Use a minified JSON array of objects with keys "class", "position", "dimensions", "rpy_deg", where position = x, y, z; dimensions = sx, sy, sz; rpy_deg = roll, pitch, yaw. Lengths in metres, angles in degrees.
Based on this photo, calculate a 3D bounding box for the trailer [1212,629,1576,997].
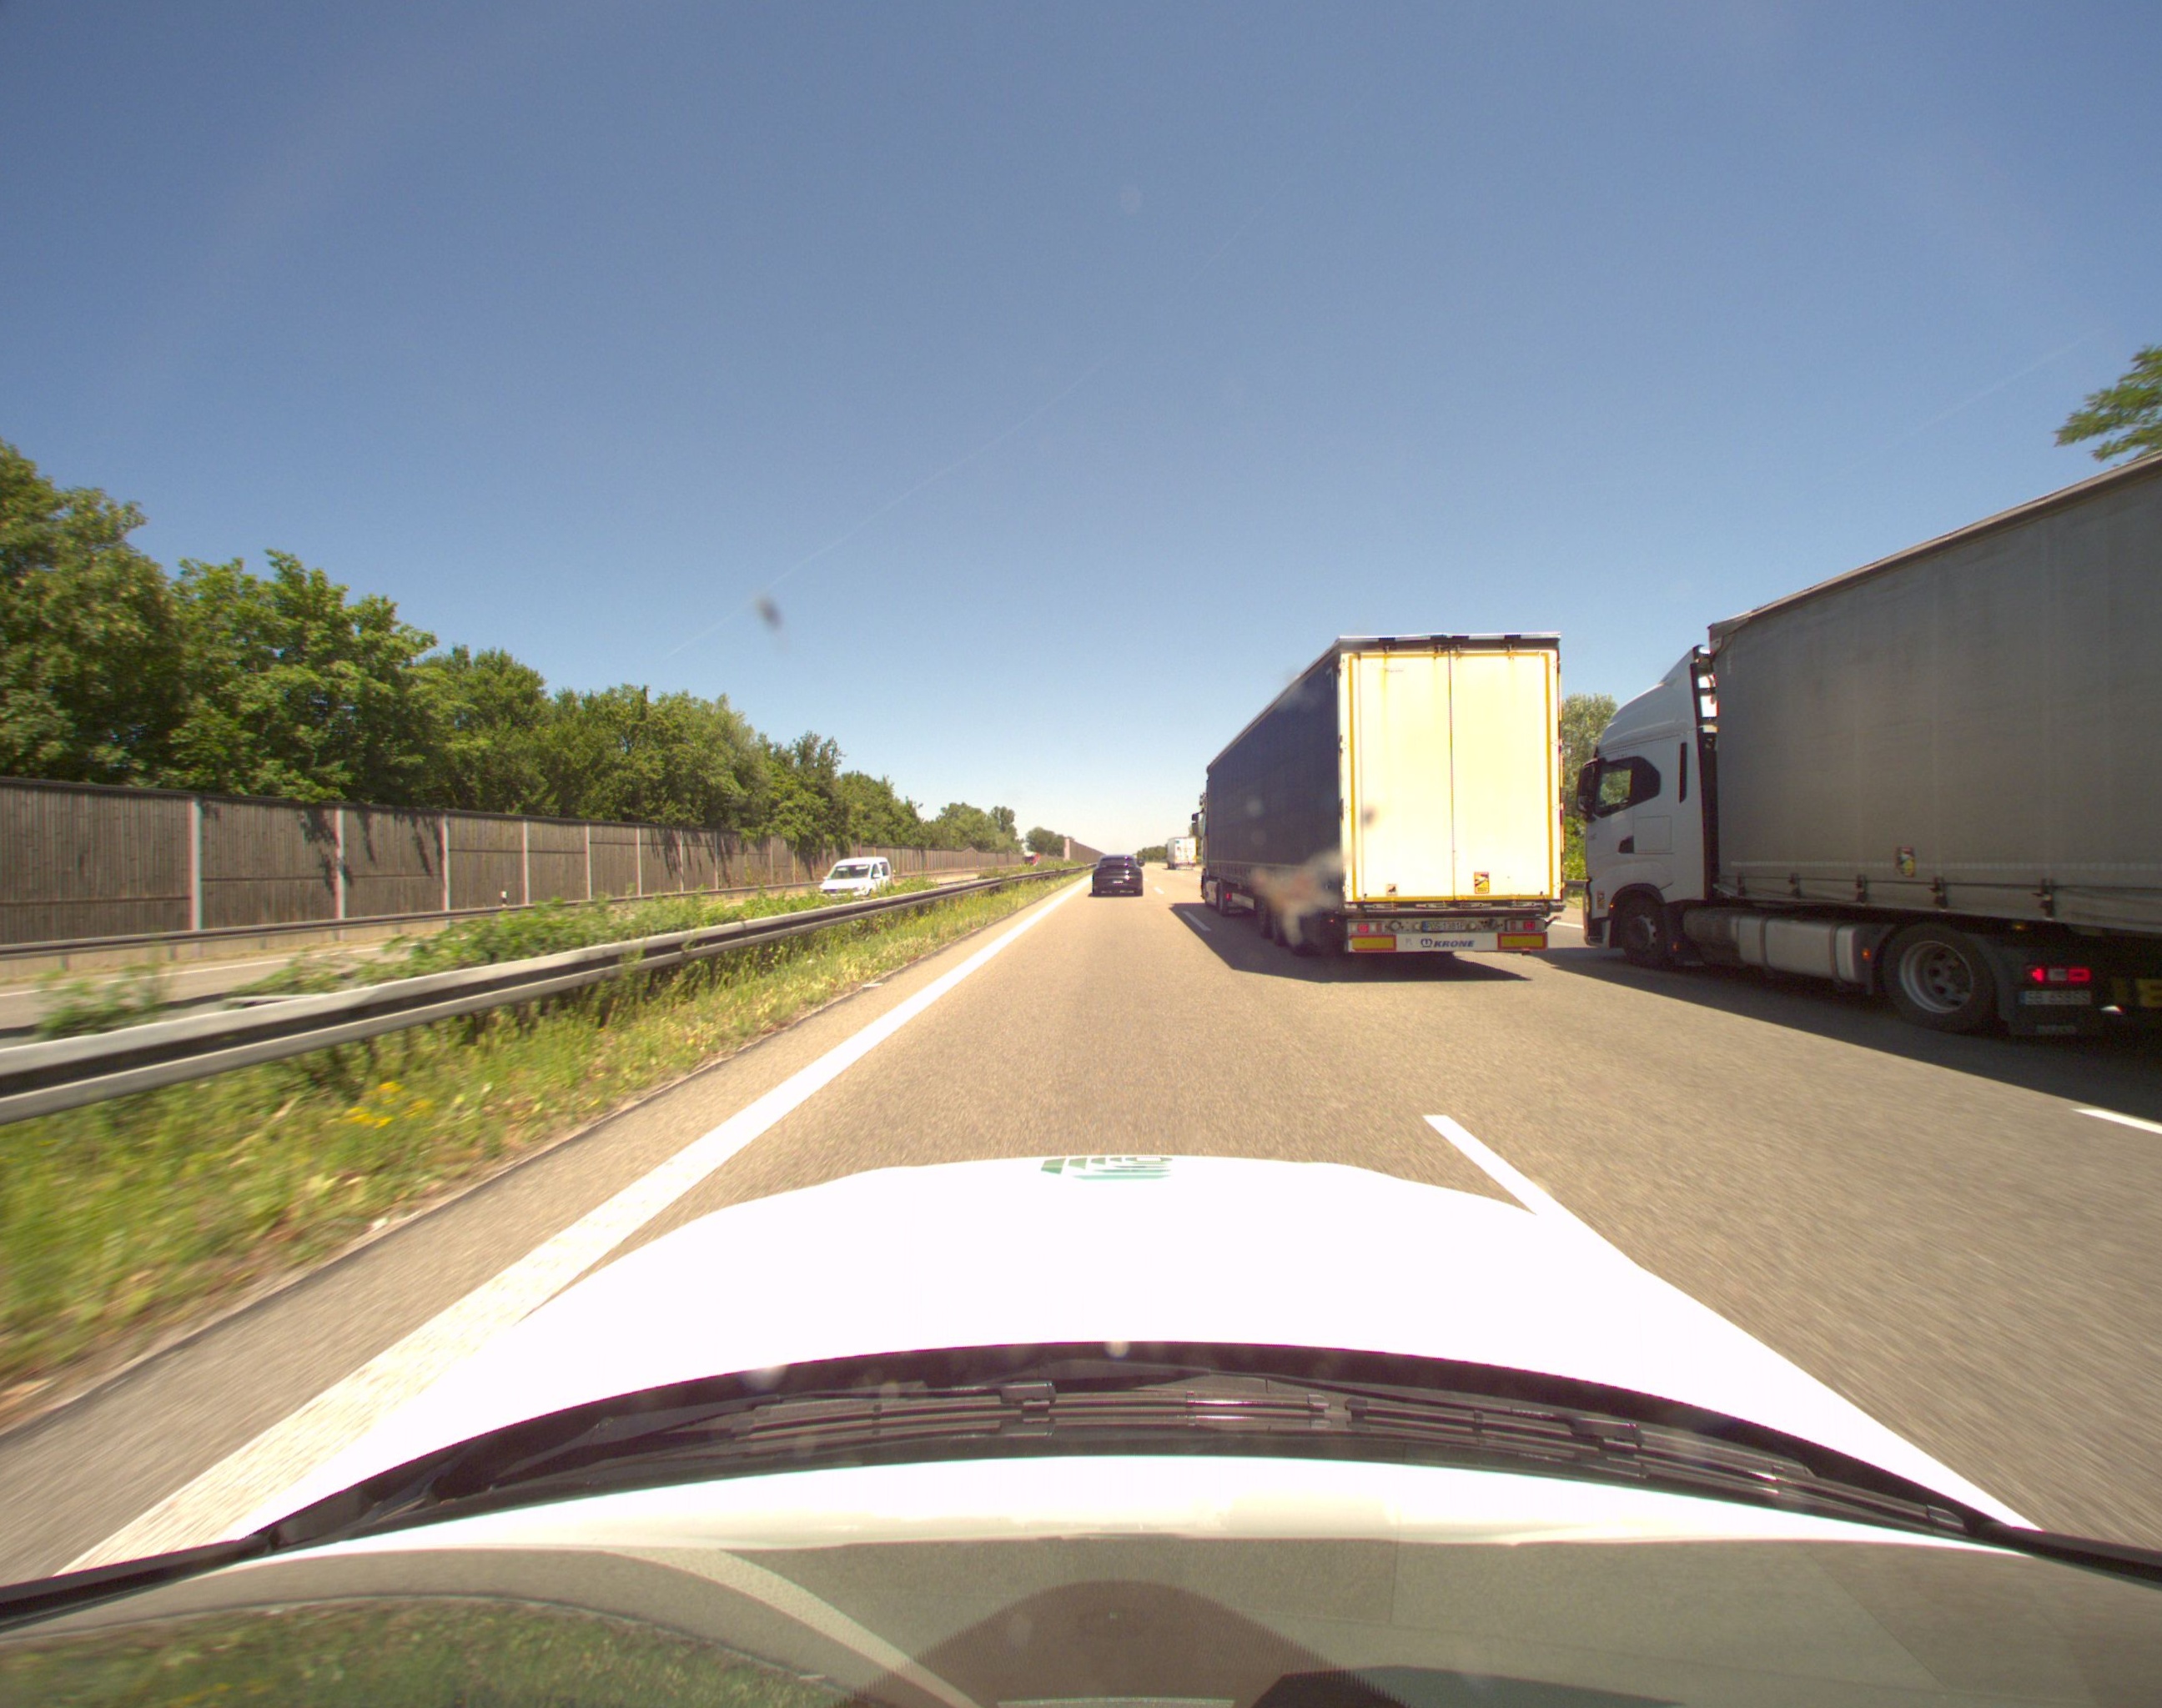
[{"class":"trailer","position":[4.472,-0.406,15.198],"dimensions":[2.689,4.118,12.140],"rpy_deg":[0,-1,3]}]

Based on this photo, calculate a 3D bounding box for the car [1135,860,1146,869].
[{"class":"car","position":[10.972,1.874,150.287],"dimensions":[1.895,1.584,4.307],"rpy_deg":[-2,-2,3]}]

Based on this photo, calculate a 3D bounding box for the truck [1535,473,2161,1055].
[{"class":"truck","position":[8.369,-0.623,9.244],"dimensions":[2.690,4.118,6.993],"rpy_deg":[0,-1,2]}]

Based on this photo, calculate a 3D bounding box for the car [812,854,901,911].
[{"class":"car","position":[-8.007,0.953,29.491],"dimensions":[1.776,1.840,4.561],"rpy_deg":[-2,0,2]}]

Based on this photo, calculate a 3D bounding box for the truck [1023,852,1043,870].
[{"class":"truck","position":[-9.597,1.326,163.322],"dimensions":[2.688,3.492,10.862],"rpy_deg":[0,-1,3]}]

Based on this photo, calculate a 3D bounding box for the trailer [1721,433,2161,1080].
[{"class":"trailer","position":[8.118,-0.649,2.251],"dimensions":[2.690,4.118,13.246],"rpy_deg":[0,-1,2]}]

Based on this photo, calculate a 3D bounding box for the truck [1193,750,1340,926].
[{"class":"truck","position":[4.827,-0.345,22.623],"dimensions":[2.690,4.118,6.993],"rpy_deg":[0,-1,2]}]

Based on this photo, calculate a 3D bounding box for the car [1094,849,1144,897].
[{"class":"car","position":[1.470,0.719,32.790],"dimensions":[1.873,1.792,4.001],"rpy_deg":[-1,0,1]}]

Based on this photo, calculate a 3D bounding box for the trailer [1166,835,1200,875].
[{"class":"trailer","position":[12.974,0.208,104.890],"dimensions":[3.256,4.838,14.039],"rpy_deg":[0,-1,3]}]
